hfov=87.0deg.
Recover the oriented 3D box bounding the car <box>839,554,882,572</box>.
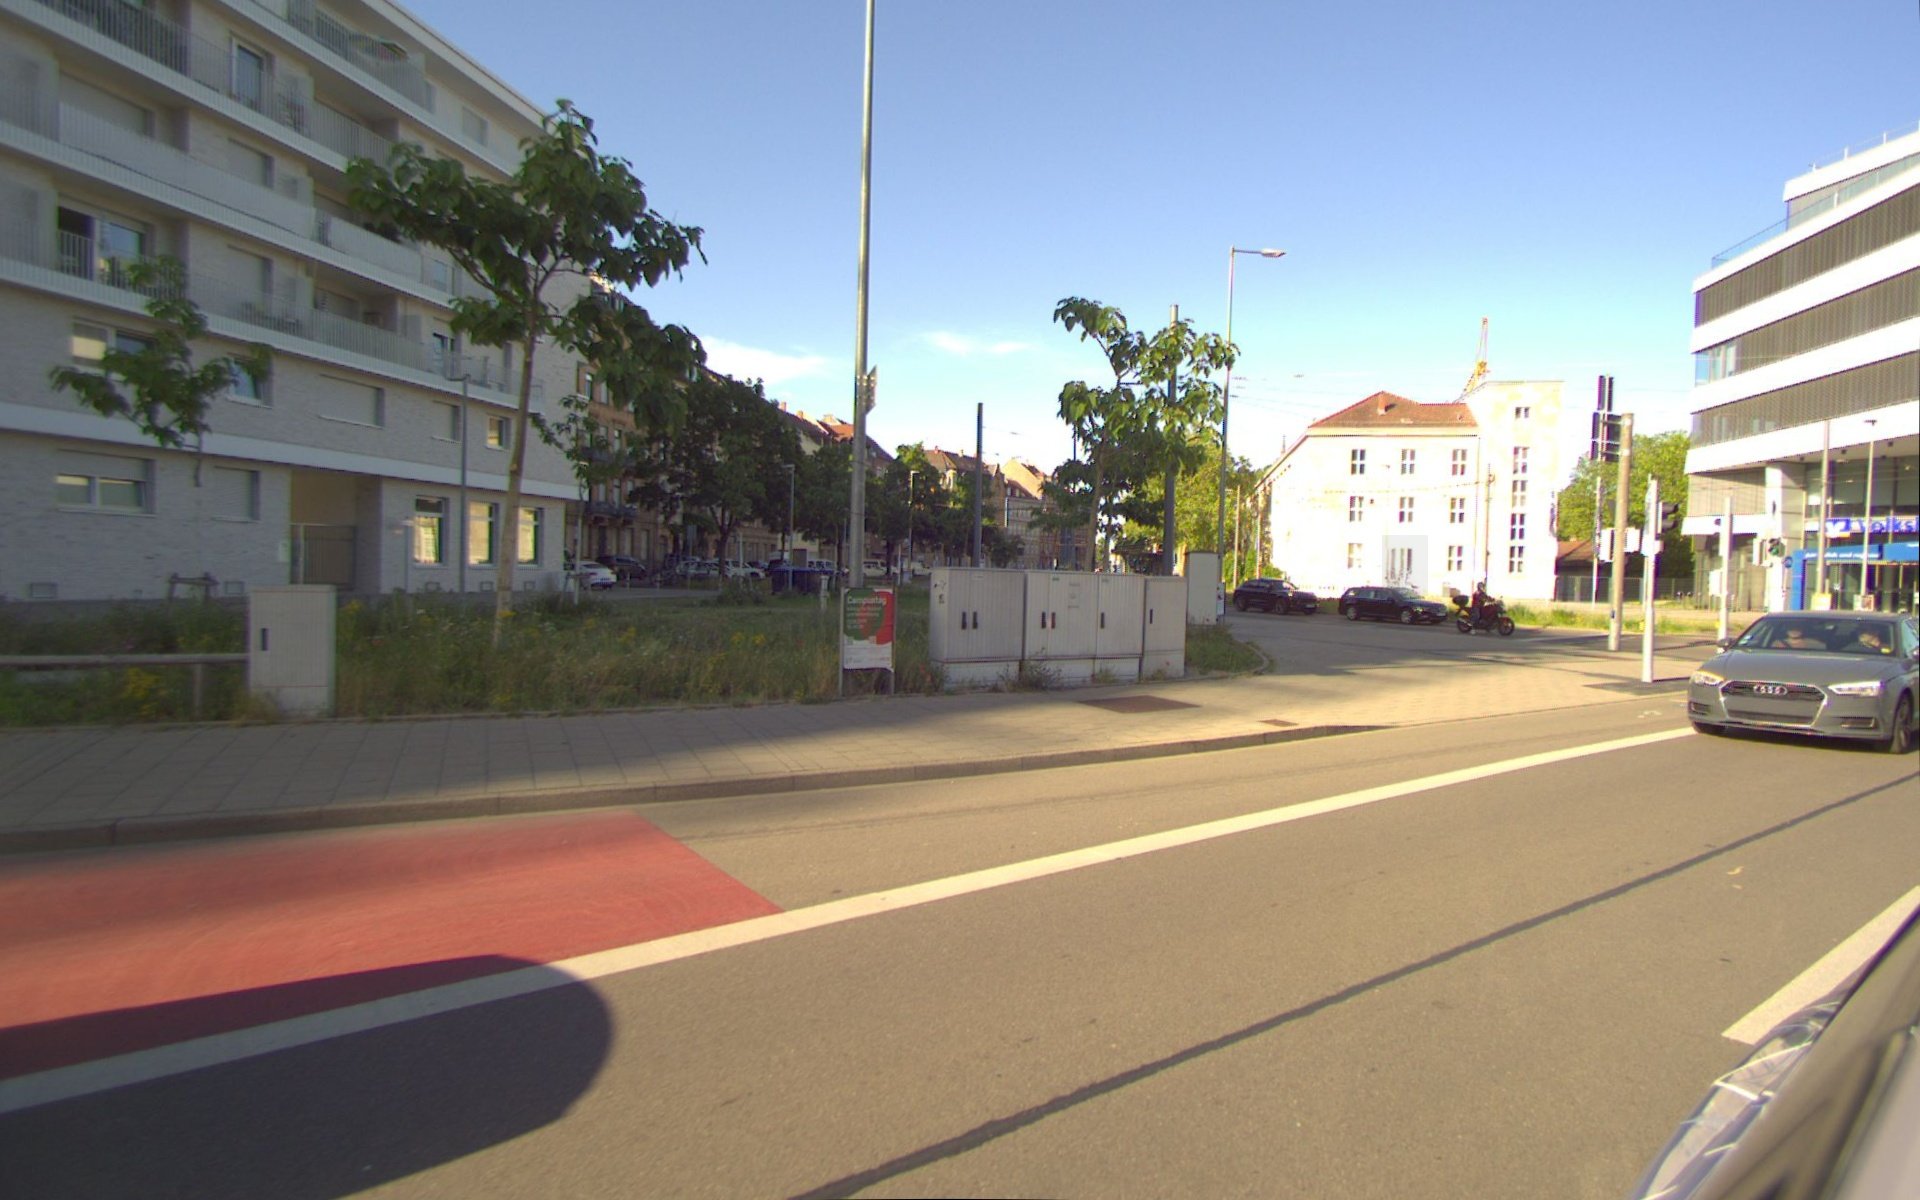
[{"bbox_3d":[-10.206,-3.753,103.966,4.173,1.738,2.004,1,2,-11],"label":"car"}]

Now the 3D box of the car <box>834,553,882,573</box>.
[{"bbox_3d":[-9.360,-3.374,92.826,3.916,1.738,2.005,1,2,-21],"label":"car"}]

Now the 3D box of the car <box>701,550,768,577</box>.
[{"bbox_3d":[-15.057,-2.446,67.596,3.919,1.738,2.003,0,2,-29],"label":"car"}]

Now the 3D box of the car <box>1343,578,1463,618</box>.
[{"bbox_3d":[17.888,-0.097,41.098,1.958,1.439,4.305,1,2,-22],"label":"car"}]

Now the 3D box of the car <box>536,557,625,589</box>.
[{"bbox_3d":[-18.608,-1.342,49.622,3.960,1.415,1.982,2,2,26],"label":"car"}]

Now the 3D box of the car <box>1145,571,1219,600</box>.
[{"bbox_3d":[12.024,-0.803,55.023,1.958,1.439,4.009,1,2,-22],"label":"car"}]

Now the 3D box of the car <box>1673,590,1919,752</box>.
[{"bbox_3d":[9.828,0.649,11.215,4.030,1.459,1.717,0,2,-32],"label":"car"}]

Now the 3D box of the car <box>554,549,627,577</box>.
[{"bbox_3d":[-24.800,-2.480,67.975,4.196,1.738,1.993,2,2,12],"label":"car"}]

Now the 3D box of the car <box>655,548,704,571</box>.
[{"bbox_3d":[-21.749,-3.116,78.585,1.969,1.738,4.248,2,2,12],"label":"car"}]

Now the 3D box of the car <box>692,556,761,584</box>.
[{"bbox_3d":[-15.015,-1.925,65.049,3.919,1.738,2.003,0,2,-29],"label":"car"}]

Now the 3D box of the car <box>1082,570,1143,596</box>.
[{"bbox_3d":[9.274,-1.062,61.929,1.958,1.439,4.537,1,2,-15],"label":"car"}]

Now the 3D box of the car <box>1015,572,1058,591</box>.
[{"bbox_3d":[5.613,-1.393,74.670,1.958,1.259,4.010,1,2,-14],"label":"car"}]

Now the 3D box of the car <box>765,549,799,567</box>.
[{"bbox_3d":[-17.668,-4.147,100.567,1.969,1.738,4.248,2,2,12],"label":"car"}]

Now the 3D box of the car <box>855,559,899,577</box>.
[{"bbox_3d":[-8.311,-3.188,101.492,3.916,1.738,2.005,0,2,-21],"label":"car"}]

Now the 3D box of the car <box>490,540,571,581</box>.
[{"bbox_3d":[-25.008,-2.290,59.089,1.971,2.239,4.575,2,2,14],"label":"car"}]

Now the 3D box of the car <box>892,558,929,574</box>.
[{"bbox_3d":[-5.953,-4.051,121.247,3.916,1.838,2.005,1,2,-19],"label":"car"}]

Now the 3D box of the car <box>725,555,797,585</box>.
[{"bbox_3d":[-12.244,-1.834,62.227,3.919,1.738,2.003,0,2,-29],"label":"car"}]

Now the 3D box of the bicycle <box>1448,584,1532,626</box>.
[{"bbox_3d":[17.919,0.149,34.267,0.932,1.328,2.376,0,2,-28],"label":"bicycle"}]

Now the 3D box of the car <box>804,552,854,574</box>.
[{"bbox_3d":[-11.198,-3.146,86.424,3.916,1.738,2.005,1,2,-21],"label":"car"}]

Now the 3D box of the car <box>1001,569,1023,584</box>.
[{"bbox_3d":[4.995,-2.249,97.054,1.901,1.393,3.995,1,2,6],"label":"car"}]

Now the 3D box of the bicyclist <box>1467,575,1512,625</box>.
[{"bbox_3d":[17.928,-0.012,34.284,0.862,1.627,1.010,0,2,-28],"label":"bicyclist"}]

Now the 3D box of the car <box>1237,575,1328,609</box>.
[{"bbox_3d":[15.076,-0.381,47.487,1.958,1.439,4.009,1,2,-22],"label":"car"}]
